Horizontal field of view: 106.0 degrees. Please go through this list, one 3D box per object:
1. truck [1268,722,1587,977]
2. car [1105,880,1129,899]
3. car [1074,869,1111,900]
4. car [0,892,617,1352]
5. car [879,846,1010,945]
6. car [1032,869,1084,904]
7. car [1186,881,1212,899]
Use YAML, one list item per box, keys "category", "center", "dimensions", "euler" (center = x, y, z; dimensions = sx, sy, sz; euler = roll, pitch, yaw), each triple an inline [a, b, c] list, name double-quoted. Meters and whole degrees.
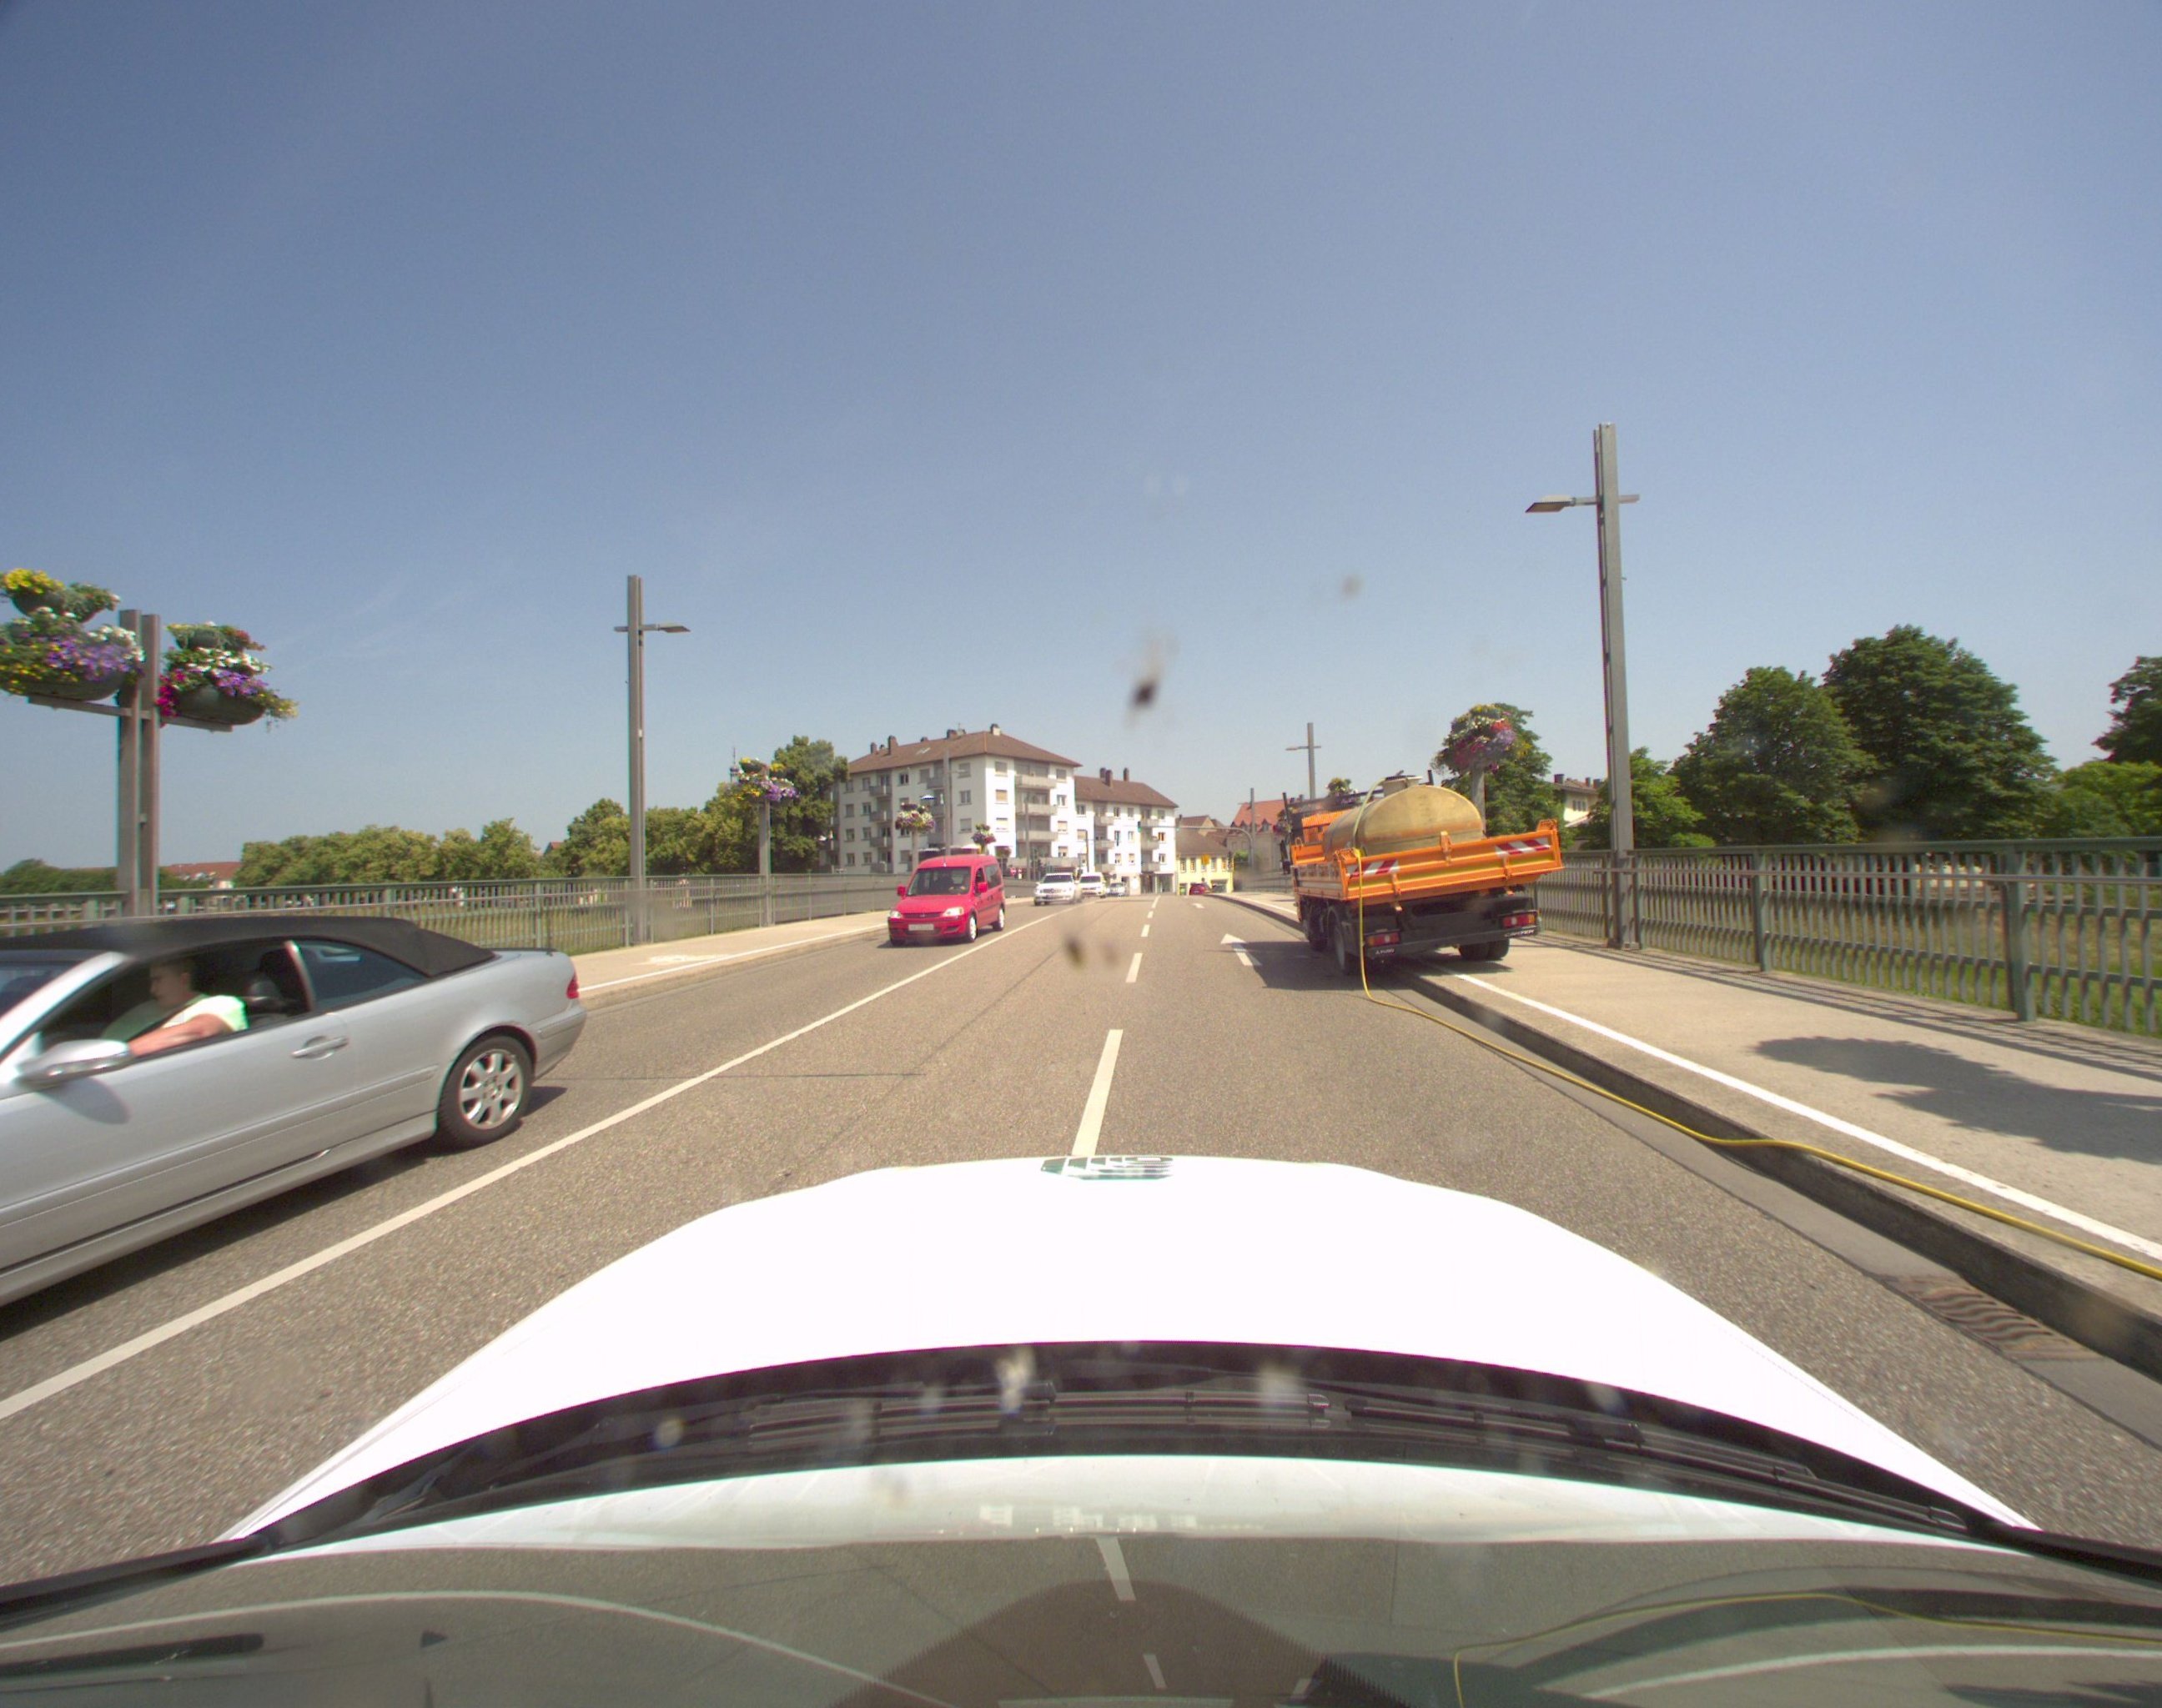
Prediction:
- category: "truck"
  center: [4.393, 0.005, 11.734]
  dimensions: [2.592, 2.691, 5.833]
  euler: [-2, -1, 6]
- category: "car"
  center: [3.252, 3.187, 73.654]
  dimensions: [1.751, 1.519, 4.008]
  euler: [-3, -2, 7]
- category: "car"
  center: [0.827, 2.084, 55.417]
  dimensions: [1.749, 1.857, 4.657]
  euler: [-5, -3, 9]
- category: "car"
  center: [-4.280, 0.968, 3.501]
  dimensions: [1.690, 1.358, 4.461]
  euler: [-3, -1, 4]
- category: "car"
  center: [-2.782, 0.853, 17.578]
  dimensions: [1.728, 1.777, 4.181]
  euler: [-4, -2, 4]
- category: "car"
  center: [-0.981, 1.492, 37.058]
  dimensions: [1.835, 1.432, 4.718]
  euler: [-2, -3, 5]
- category: "car"
  center: [12.103, 3.652, 83.267]
  dimensions: [1.975, 1.613, 4.361]
  euler: [-2, -1, 16]
